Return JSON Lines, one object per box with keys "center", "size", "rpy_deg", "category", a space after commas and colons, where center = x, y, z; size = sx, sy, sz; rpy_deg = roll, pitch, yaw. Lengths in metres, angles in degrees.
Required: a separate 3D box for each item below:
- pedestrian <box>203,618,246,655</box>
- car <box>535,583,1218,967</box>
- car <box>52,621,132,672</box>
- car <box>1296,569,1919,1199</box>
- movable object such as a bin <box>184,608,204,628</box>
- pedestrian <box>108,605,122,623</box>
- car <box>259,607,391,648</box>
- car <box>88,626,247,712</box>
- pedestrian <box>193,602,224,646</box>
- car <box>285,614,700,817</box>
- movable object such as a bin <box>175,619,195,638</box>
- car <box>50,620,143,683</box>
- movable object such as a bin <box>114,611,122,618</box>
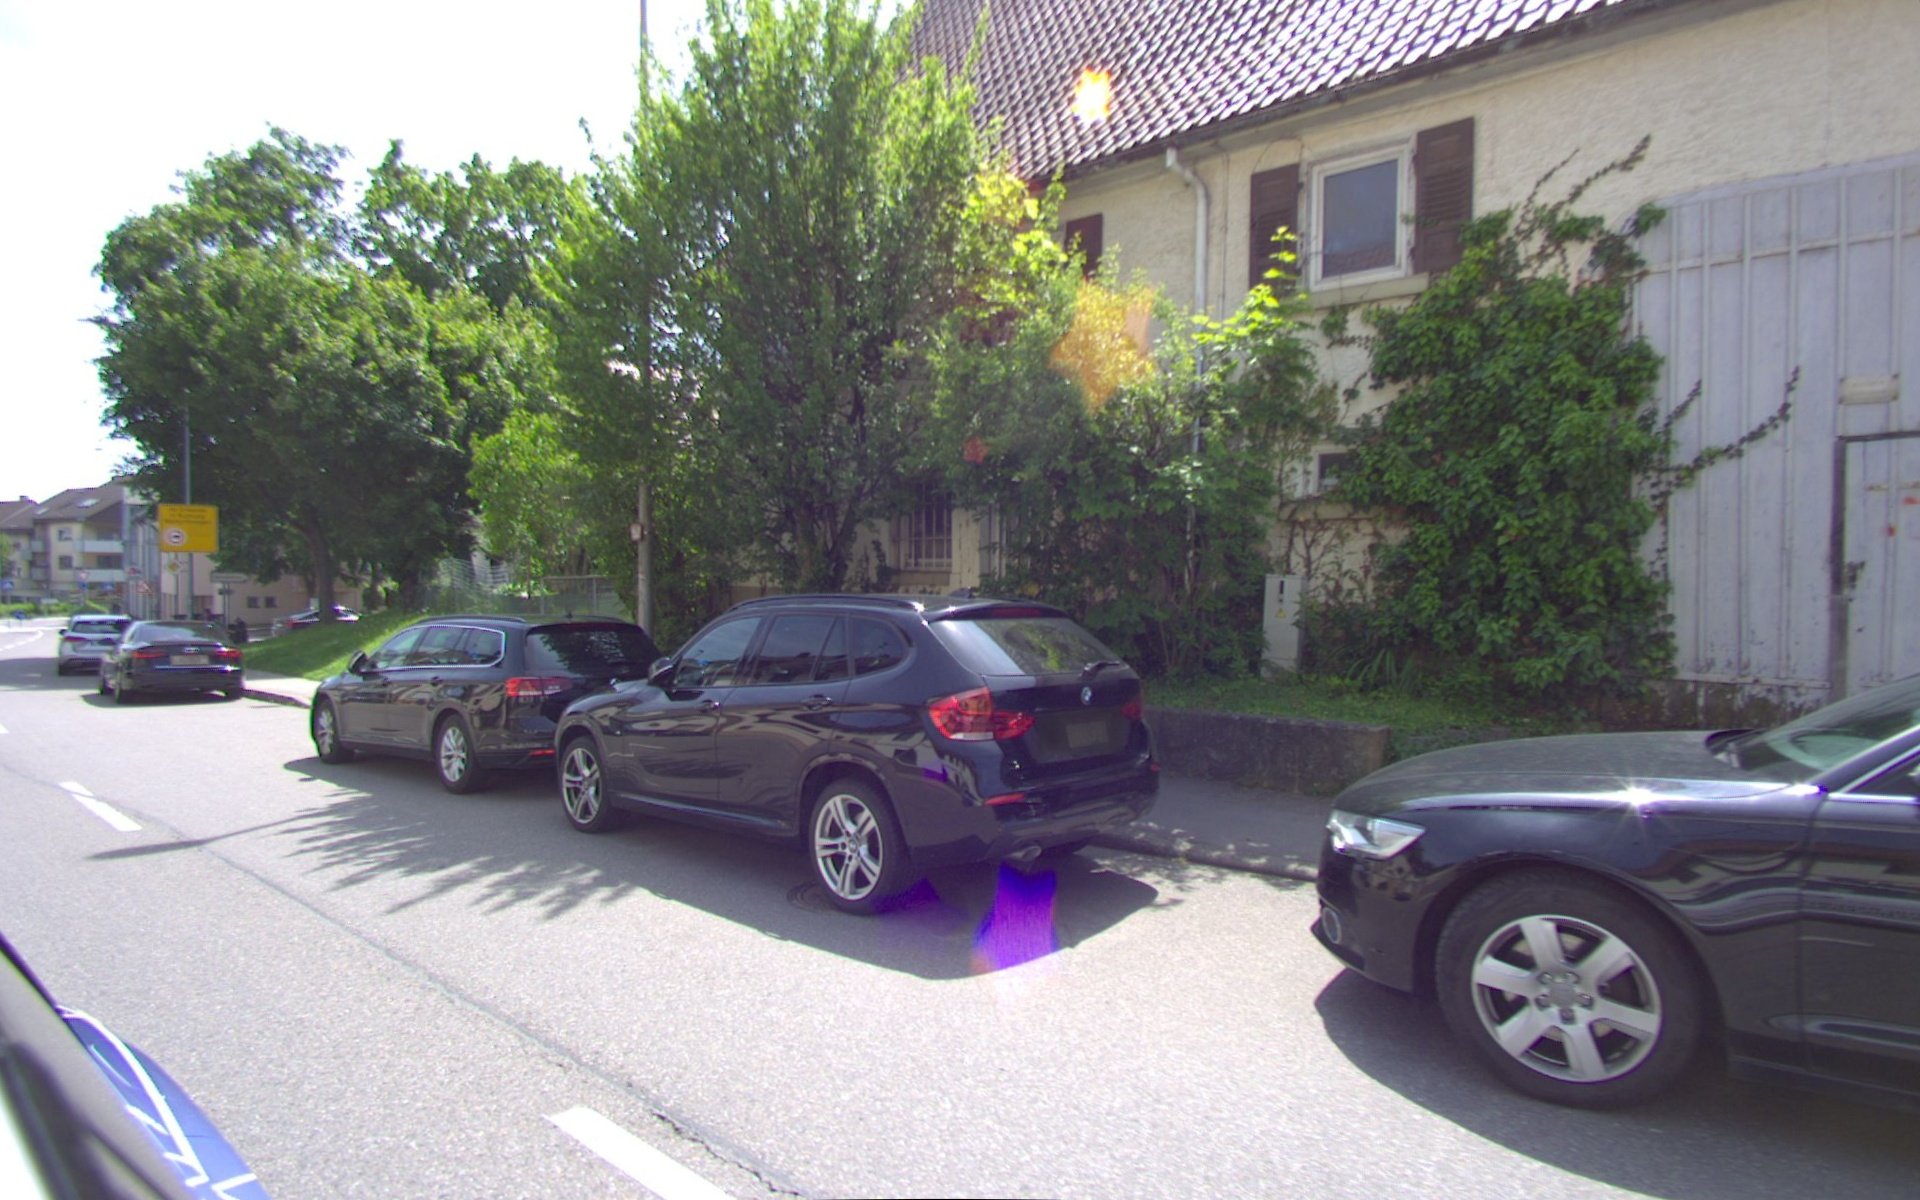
{"center": [-26.990, 1.323, 37.143], "size": [1.220, 1.278, 0.648], "rpy_deg": [-2, 1, -38], "category": "pedestrian"}
{"center": [-0.800, 0.752, 6.178], "size": [4.301, 1.532, 1.736], "rpy_deg": [-2, -1, 43], "category": "car"}
{"center": [-27.344, 1.425, 31.841], "size": [1.733, 1.478, 4.367], "rpy_deg": [2, -2, -42], "category": "car"}
{"center": [3.500, 0.660, 2.456], "size": [4.771, 1.484, 1.801], "rpy_deg": [-1, -1, 39], "category": "car"}
{"center": [-41.666, 0.962, 55.064], "size": [0.790, 1.008, 0.806], "rpy_deg": [-3, 2, -40], "category": "movable object such as a bin"}
{"center": [-69.872, 1.160, 83.686], "size": [0.957, 1.489, 0.791], "rpy_deg": [0, 1, 43], "category": "pedestrian"}
{"center": [-29.191, 1.216, 46.715], "size": [1.992, 1.490, 4.745], "rpy_deg": [-1, 3, 29], "category": "car"}
{"center": [-15.113, 1.221, 19.199], "size": [1.784, 1.434, 4.930], "rpy_deg": [2, -3, -45], "category": "car"}
{"center": [-28.319, 0.897, 38.128], "size": [0.626, 1.628, 0.725], "rpy_deg": [-1, 1, 28], "category": "pedestrian"}
{"center": [-4.598, 0.881, 9.579], "size": [4.709, 1.474, 1.770], "rpy_deg": [-1, -1, 41], "category": "car"}
{"center": [-41.831, 1.546, 54.626], "size": [0.841, 1.008, 0.695], "rpy_deg": [-1, 0, -40], "category": "movable object such as a bin"}
{"center": [-23.350, 1.335, 27.381], "size": [1.750, 1.539, 4.228], "rpy_deg": [2, -2, -41], "category": "car"}
{"center": [-69.509, 1.188, 83.566], "size": [0.469, 0.586, 0.452], "rpy_deg": [0, 1, 43], "category": "movable object such as a bin"}
